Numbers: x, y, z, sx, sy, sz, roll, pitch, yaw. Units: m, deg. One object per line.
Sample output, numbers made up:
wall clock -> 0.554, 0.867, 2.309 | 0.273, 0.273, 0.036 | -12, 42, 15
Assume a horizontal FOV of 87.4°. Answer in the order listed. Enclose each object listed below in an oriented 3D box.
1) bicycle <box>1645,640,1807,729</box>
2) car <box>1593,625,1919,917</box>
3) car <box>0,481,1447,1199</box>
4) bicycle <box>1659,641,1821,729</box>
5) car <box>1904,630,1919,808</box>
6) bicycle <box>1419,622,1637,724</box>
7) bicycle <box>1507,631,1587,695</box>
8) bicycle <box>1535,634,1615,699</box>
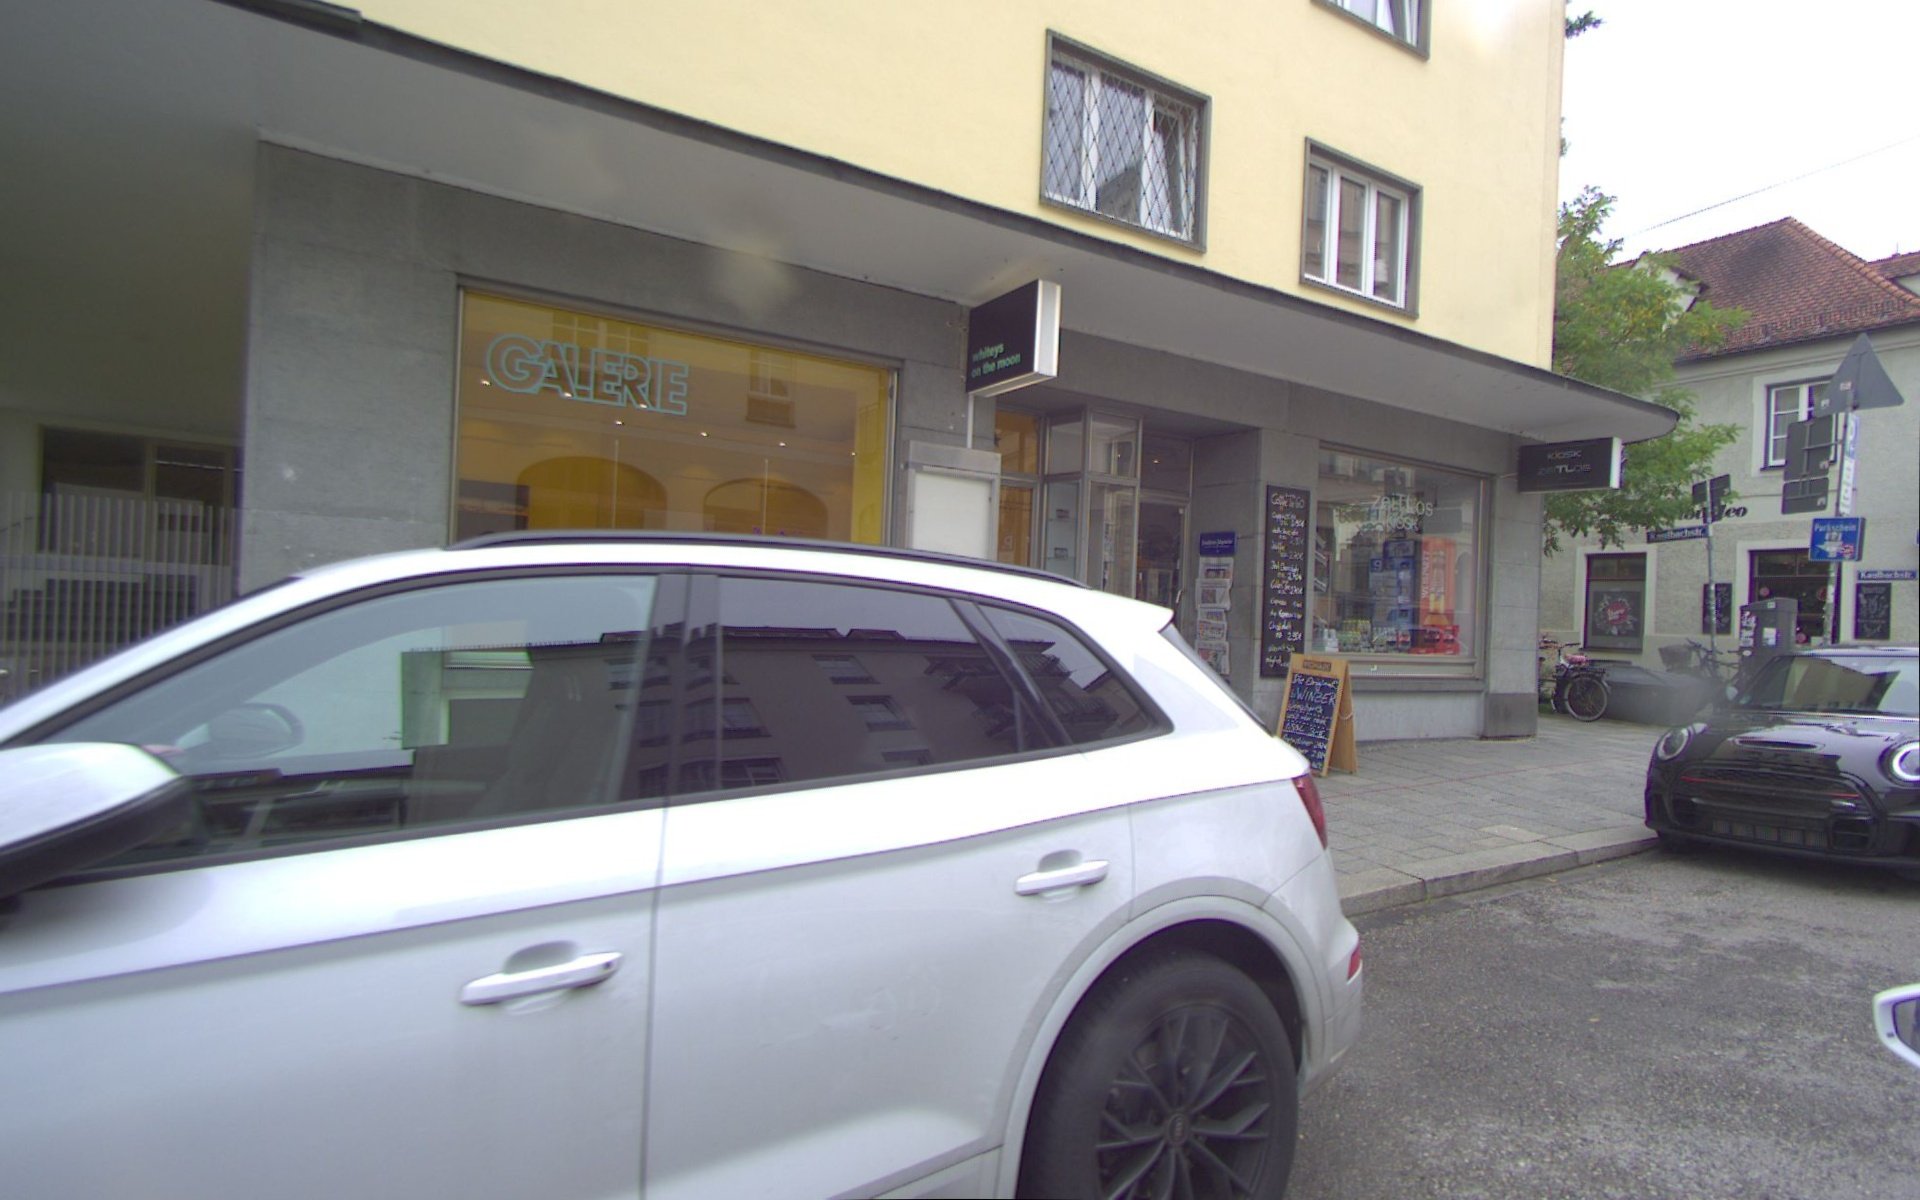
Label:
bicycle -> 10.845, 1.162, 14.299 | 0.387, 1.049, 1.811 | 1, 2, -27
car -> 6.353, 0.970, 6.932 | 4.049, 1.491, 1.671 | 2, -1, -30
car -> -1.041, 0.684, 2.244 | 4.287, 1.605, 1.794 | 1, -1, -31
bicycle -> 11.196, 1.186, 14.488 | 0.387, 1.049, 1.811 | 1, 2, -27
car -> 10.497, 1.075, 9.161 | 4.898, 1.491, 1.669 | 2, -2, -33
bicycle -> 8.450, 1.048, 15.152 | 0.807, 1.227, 2.832 | 4, 0, -27
bicycle -> 9.627, 1.044, 16.449 | 1.699, 0.978, 0.377 | 4, 1, -34
bicycle -> 9.881, 1.081, 16.120 | 1.699, 0.978, 0.377 | 4, 1, -34
